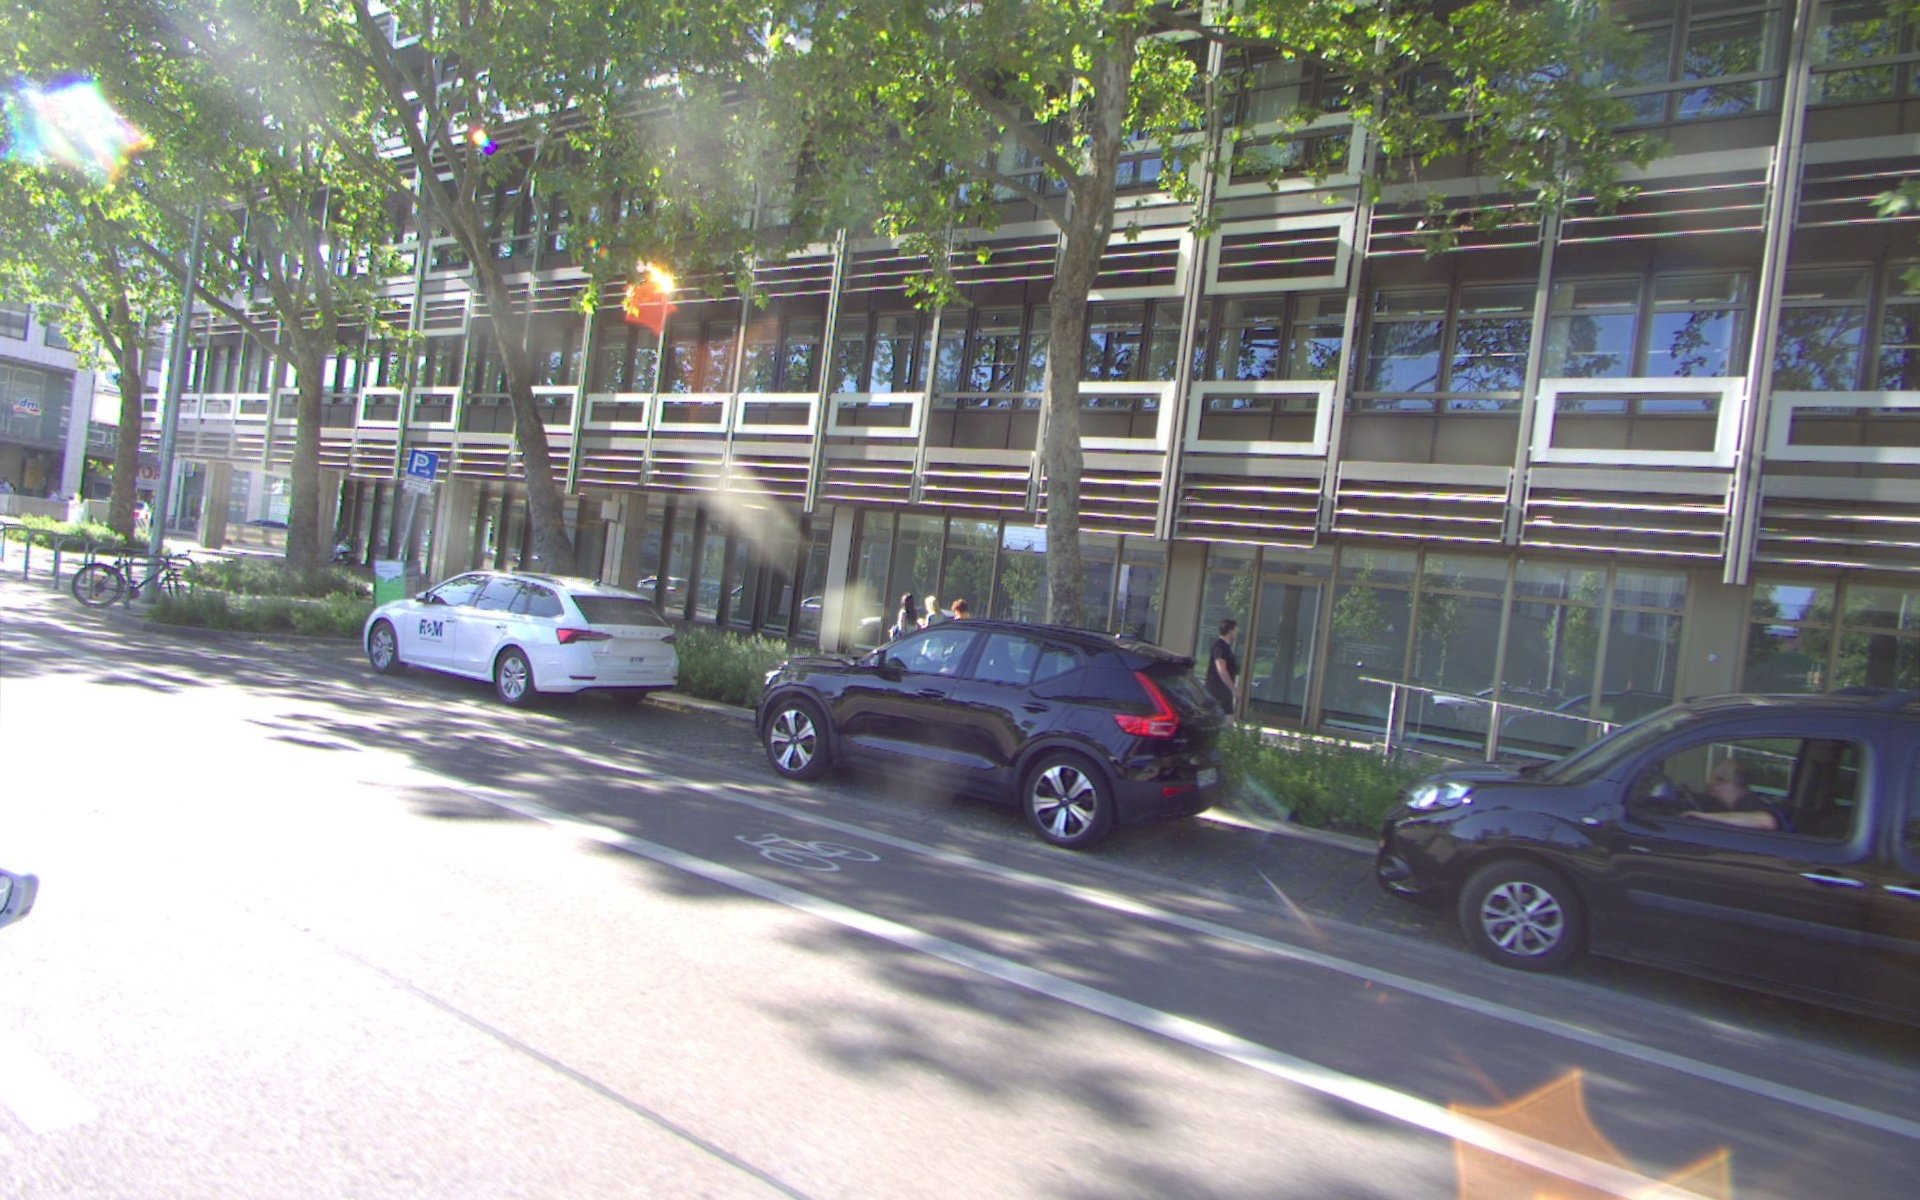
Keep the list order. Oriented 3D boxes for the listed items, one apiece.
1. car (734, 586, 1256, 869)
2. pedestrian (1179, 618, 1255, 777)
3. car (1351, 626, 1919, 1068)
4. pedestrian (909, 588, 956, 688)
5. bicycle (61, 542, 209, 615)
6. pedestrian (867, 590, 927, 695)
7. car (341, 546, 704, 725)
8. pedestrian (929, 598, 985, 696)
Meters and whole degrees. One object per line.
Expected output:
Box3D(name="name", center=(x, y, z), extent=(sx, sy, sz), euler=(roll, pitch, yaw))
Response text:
Box3D(name="car", center=(0.211, 0.948, 8.806), extent=(4.123, 1.582, 1.707), euler=(7, -1, 32))
Box3D(name="pedestrian", center=(3.311, 1.252, 12.937), extent=(0.548, 1.938, 0.678), euler=(6, -2, 32))
Box3D(name="car", center=(4.688, 1.327, 5.808), extent=(4.122, 1.813, 1.705), euler=(7, 2, 32))
Box3D(name="pedestrian", center=(-0.458, 0.635, 16.824), extent=(0.492, 1.603, 0.316), euler=(8, 0, 23))
Box3D(name="bicycle", center=(-12.909, -0.317, 15.800), extent=(0.470, 0.969, 1.696), euler=(8, 1, 27))
Box3D(name="pedestrian", center=(-1.020, 0.698, 16.332), extent=(0.623, 1.603, 0.507), euler=(8, 0, 23))
Box3D(name="car", center=(-5.466, 0.382, 12.372), extent=(4.524, 1.510, 1.707), euler=(7, -1, 32))
Box3D(name="pedestrian", center=(-0.053, 0.827, 17.510), extent=(0.563, 1.622, 0.554), euler=(8, 0, 32))
